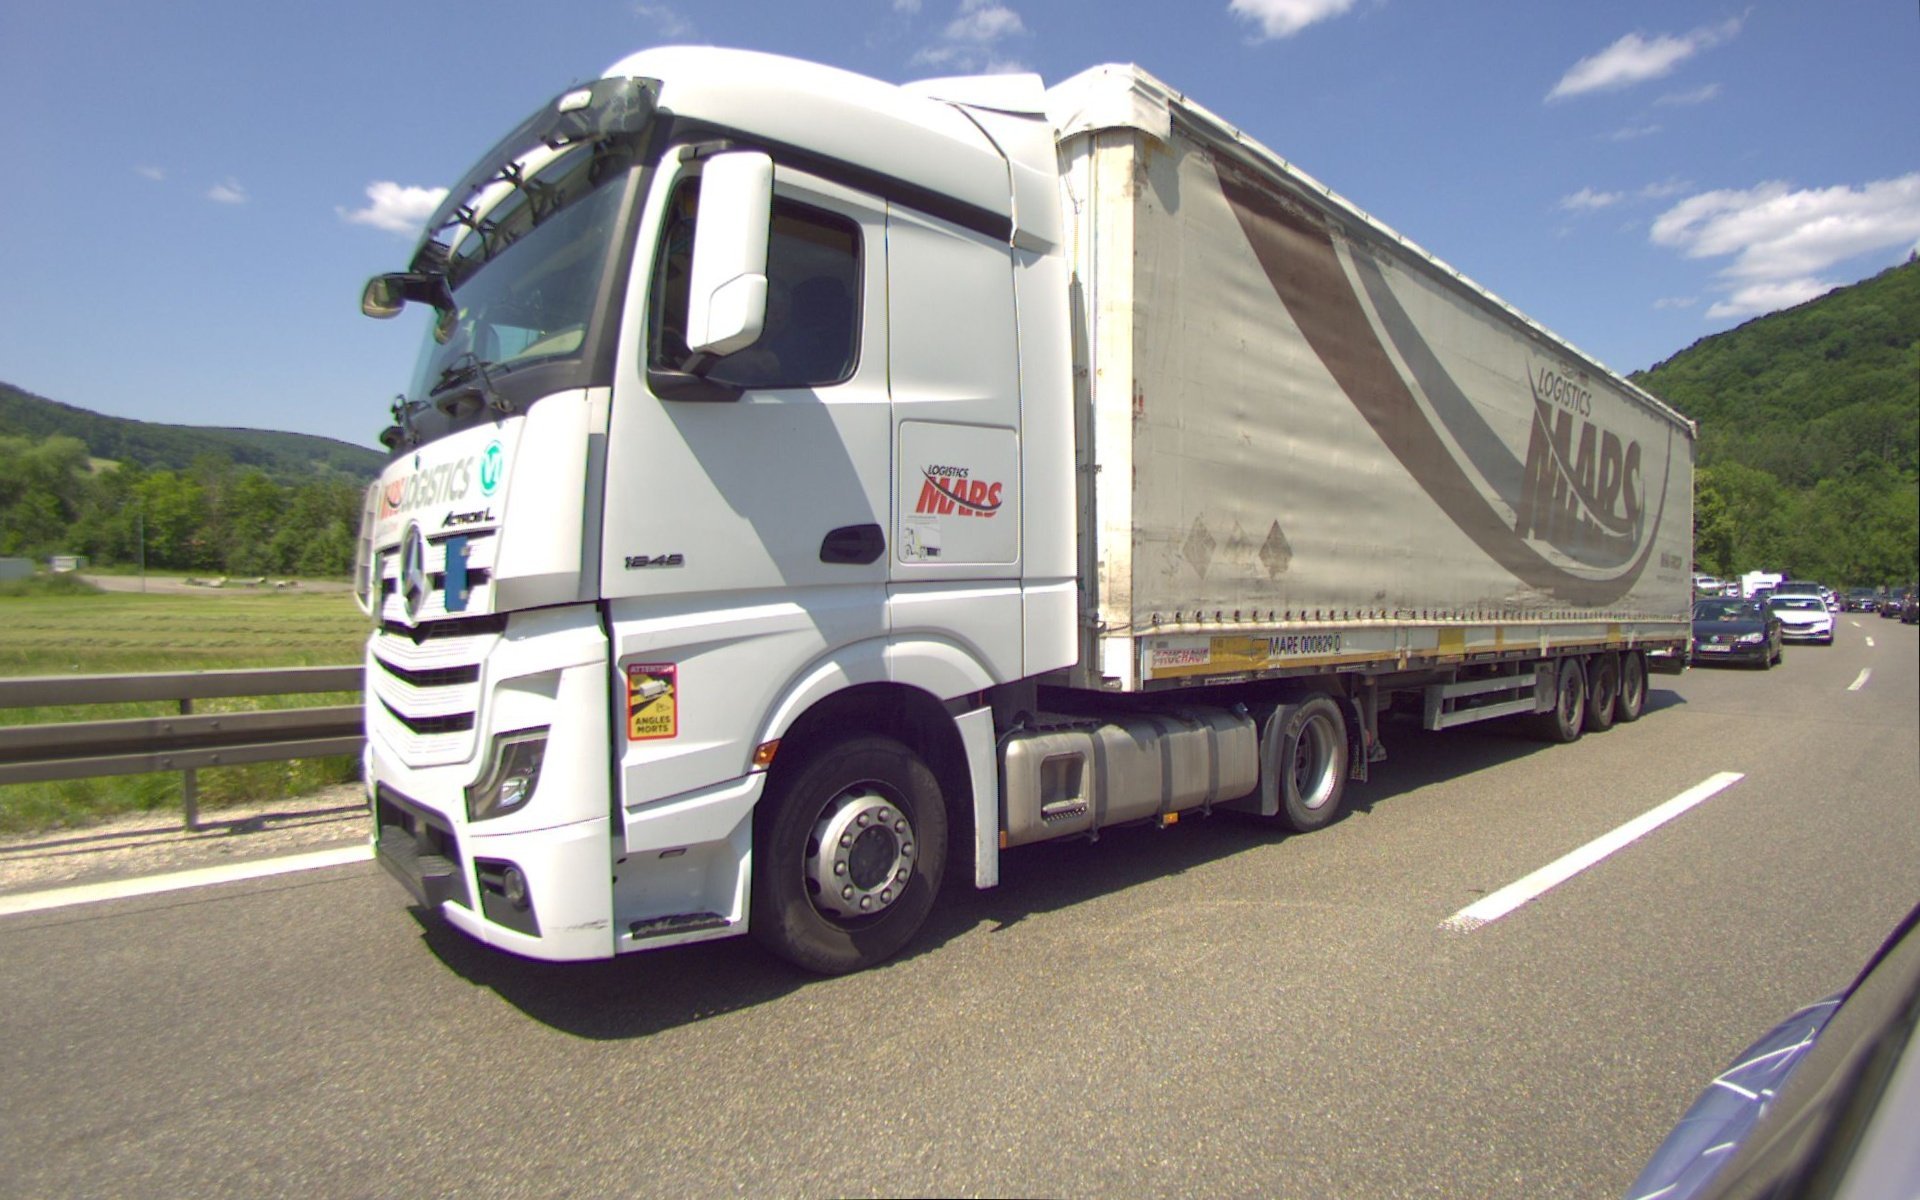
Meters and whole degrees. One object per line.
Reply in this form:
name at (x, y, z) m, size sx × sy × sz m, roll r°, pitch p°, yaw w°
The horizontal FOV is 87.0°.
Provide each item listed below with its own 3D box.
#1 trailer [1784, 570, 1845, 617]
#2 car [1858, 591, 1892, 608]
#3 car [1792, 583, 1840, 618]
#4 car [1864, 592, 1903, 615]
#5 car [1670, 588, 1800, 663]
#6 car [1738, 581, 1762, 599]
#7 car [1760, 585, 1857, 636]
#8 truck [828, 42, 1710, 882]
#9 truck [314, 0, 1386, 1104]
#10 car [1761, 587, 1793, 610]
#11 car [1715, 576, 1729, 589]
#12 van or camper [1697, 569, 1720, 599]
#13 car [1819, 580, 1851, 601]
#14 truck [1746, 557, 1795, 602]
trailer at (38.637, -0.334, 45.758) m, size 1.992 × 1.994 × 3.941 m, roll 1°, pitch 2°, yaw 41°
car at (59.943, -0.048, 66.306) m, size 1.485 × 1.123 × 3.168 m, roll 0°, pitch 0°, yaw 40°
car at (36.247, -0.003, 42.837) m, size 1.483 × 1.401 × 3.683 m, roll -1°, pitch 0°, yaw 41°
car at (48.711, 0.166, 53.376) m, size 1.486 × 1.123 × 3.165 m, roll 0°, pitch 0°, yaw 43°
car at (16.560, 0.487, 21.563) m, size 3.775 × 1.440 × 1.693 m, roll 0°, pitch 0°, yaw -44°
car at (71.675, -0.895, 91.817) m, size 1.691 × 1.552 × 3.628 m, roll -2°, pitch -1°, yaw 39°
car at (25.506, 0.282, 30.379) m, size 3.661 × 1.448 × 1.904 m, roll 0°, pitch 0°, yaw -44°
truck at (4.873, -0.765, 10.675) m, size 13.515 × 4.118 × 2.728 m, roll -1°, pitch 1°, yaw -44°
truck at (-0.118, -0.690, 5.806) m, size 5.659 × 4.119 × 2.721 m, roll -1°, pitch 1°, yaw -44°
car at (56.666, -0.114, 70.221) m, size 1.613 × 1.594 × 3.468 m, roll -1°, pitch 0°, yaw 38°
car at (91.990, -2.091, 122.188) m, size 1.240 × 1.497 × 2.919 m, roll -2°, pitch -1°, yaw 39°
van or camper at (80.813, -1.725, 109.296) m, size 1.899 × 3.065 × 4.811 m, roll 1°, pitch 1°, yaw 36°
car at (69.169, -0.734, 80.053) m, size 1.522 × 1.658 × 3.374 m, roll -2°, pitch -1°, yaw 36°
truck at (60.725, -1.466, 75.908) m, size 2.589 × 3.147 × 6.766 m, roll -2°, pitch -1°, yaw 37°
